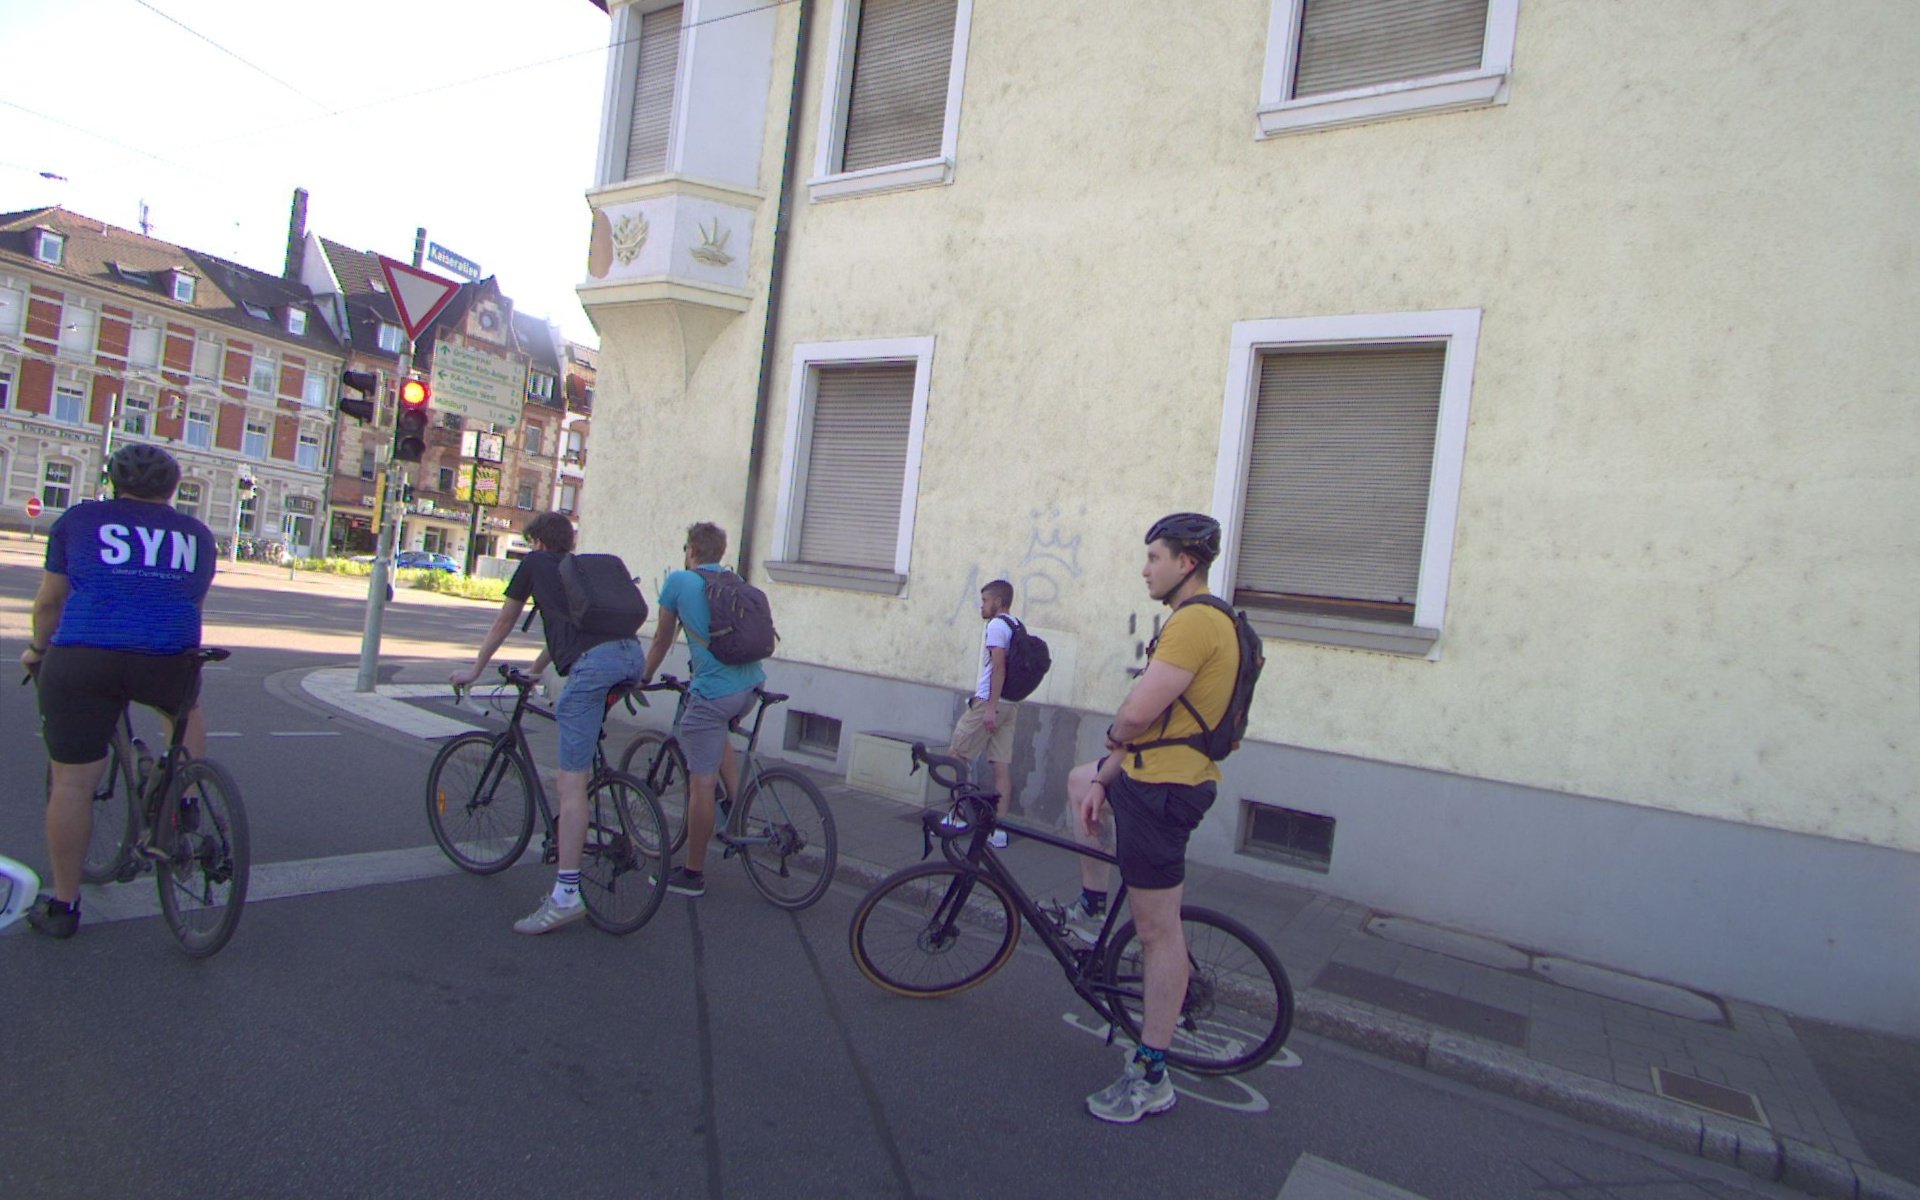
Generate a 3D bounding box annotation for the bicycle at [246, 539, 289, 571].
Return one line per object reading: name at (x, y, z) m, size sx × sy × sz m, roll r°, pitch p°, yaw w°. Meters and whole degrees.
bicycle at (-33.042, -2.148, 47.992) m, size 2.618 × 1.301 × 0.629 m, roll 6°, pitch -1°, yaw 33°

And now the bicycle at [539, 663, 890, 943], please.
bicycle at (-1.316, 0.973, 5.251) m, size 1.742 × 1.043 × 0.650 m, roll 6°, pitch -1°, yaw 33°

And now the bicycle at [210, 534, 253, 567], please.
bicycle at (-33.823, -2.322, 46.690) m, size 2.618 × 1.301 × 0.629 m, roll 6°, pitch -1°, yaw 33°

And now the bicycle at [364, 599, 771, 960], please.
bicycle at (-1.835, 0.731, 4.657) m, size 1.674 × 1.251 × 0.756 m, roll 6°, pitch -1°, yaw 30°

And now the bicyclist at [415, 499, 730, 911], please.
bicyclist at (-1.754, 0.436, 4.609) m, size 0.868 × 1.625 × 0.807 m, roll 7°, pitch -1°, yaw 30°

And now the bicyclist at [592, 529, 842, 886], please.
bicyclist at (-1.269, 0.524, 5.283) m, size 0.869 × 1.652 × 0.690 m, roll 6°, pitch -1°, yaw 34°

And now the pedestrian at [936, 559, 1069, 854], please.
pedestrian at (0.254, 0.654, 6.446) m, size 0.631 × 1.780 × 0.584 m, roll 4°, pitch 3°, yaw -7°

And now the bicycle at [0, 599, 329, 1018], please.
bicycle at (-3.092, 0.631, 3.670) m, size 1.676 × 1.097 × 0.627 m, roll 6°, pitch -1°, yaw 35°

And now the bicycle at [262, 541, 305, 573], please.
bicycle at (-32.673, -2.066, 48.581) m, size 2.618 × 1.301 × 0.629 m, roll 6°, pitch -1°, yaw 33°

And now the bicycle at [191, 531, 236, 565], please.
bicycle at (-34.189, -2.397, 46.066) m, size 2.618 × 1.301 × 0.693 m, roll 6°, pitch -1°, yaw 33°

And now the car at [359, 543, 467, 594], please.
car at (-25.456, -1.444, 46.905) m, size 1.967 × 1.798 × 3.790 m, roll 6°, pitch -2°, yaw 31°

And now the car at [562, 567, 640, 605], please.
car at (-23.236, -0.873, 65.284) m, size 1.967 × 1.798 × 4.374 m, roll 6°, pitch -2°, yaw 31°

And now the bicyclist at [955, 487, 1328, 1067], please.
bicyclist at (0.657, 0.530, 3.520) m, size 0.869 × 1.682 × 0.807 m, roll 6°, pitch -1°, yaw 32°

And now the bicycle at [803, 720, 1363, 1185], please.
bicycle at (0.403, 1.087, 3.630) m, size 1.751 × 1.043 × 0.756 m, roll 6°, pitch -2°, yaw 33°

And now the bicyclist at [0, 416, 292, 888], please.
bicyclist at (-3.108, 0.154, 3.715) m, size 0.869 × 1.512 × 0.639 m, roll 9°, pitch 0°, yaw 36°

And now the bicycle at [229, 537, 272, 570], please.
bicycle at (-33.409, -2.212, 47.362) m, size 2.618 × 1.301 × 0.629 m, roll 6°, pitch -1°, yaw 33°

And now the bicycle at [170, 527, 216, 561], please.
bicycle at (-34.606, -2.532, 45.401) m, size 2.618 × 1.301 × 0.693 m, roll 6°, pitch -1°, yaw 33°
